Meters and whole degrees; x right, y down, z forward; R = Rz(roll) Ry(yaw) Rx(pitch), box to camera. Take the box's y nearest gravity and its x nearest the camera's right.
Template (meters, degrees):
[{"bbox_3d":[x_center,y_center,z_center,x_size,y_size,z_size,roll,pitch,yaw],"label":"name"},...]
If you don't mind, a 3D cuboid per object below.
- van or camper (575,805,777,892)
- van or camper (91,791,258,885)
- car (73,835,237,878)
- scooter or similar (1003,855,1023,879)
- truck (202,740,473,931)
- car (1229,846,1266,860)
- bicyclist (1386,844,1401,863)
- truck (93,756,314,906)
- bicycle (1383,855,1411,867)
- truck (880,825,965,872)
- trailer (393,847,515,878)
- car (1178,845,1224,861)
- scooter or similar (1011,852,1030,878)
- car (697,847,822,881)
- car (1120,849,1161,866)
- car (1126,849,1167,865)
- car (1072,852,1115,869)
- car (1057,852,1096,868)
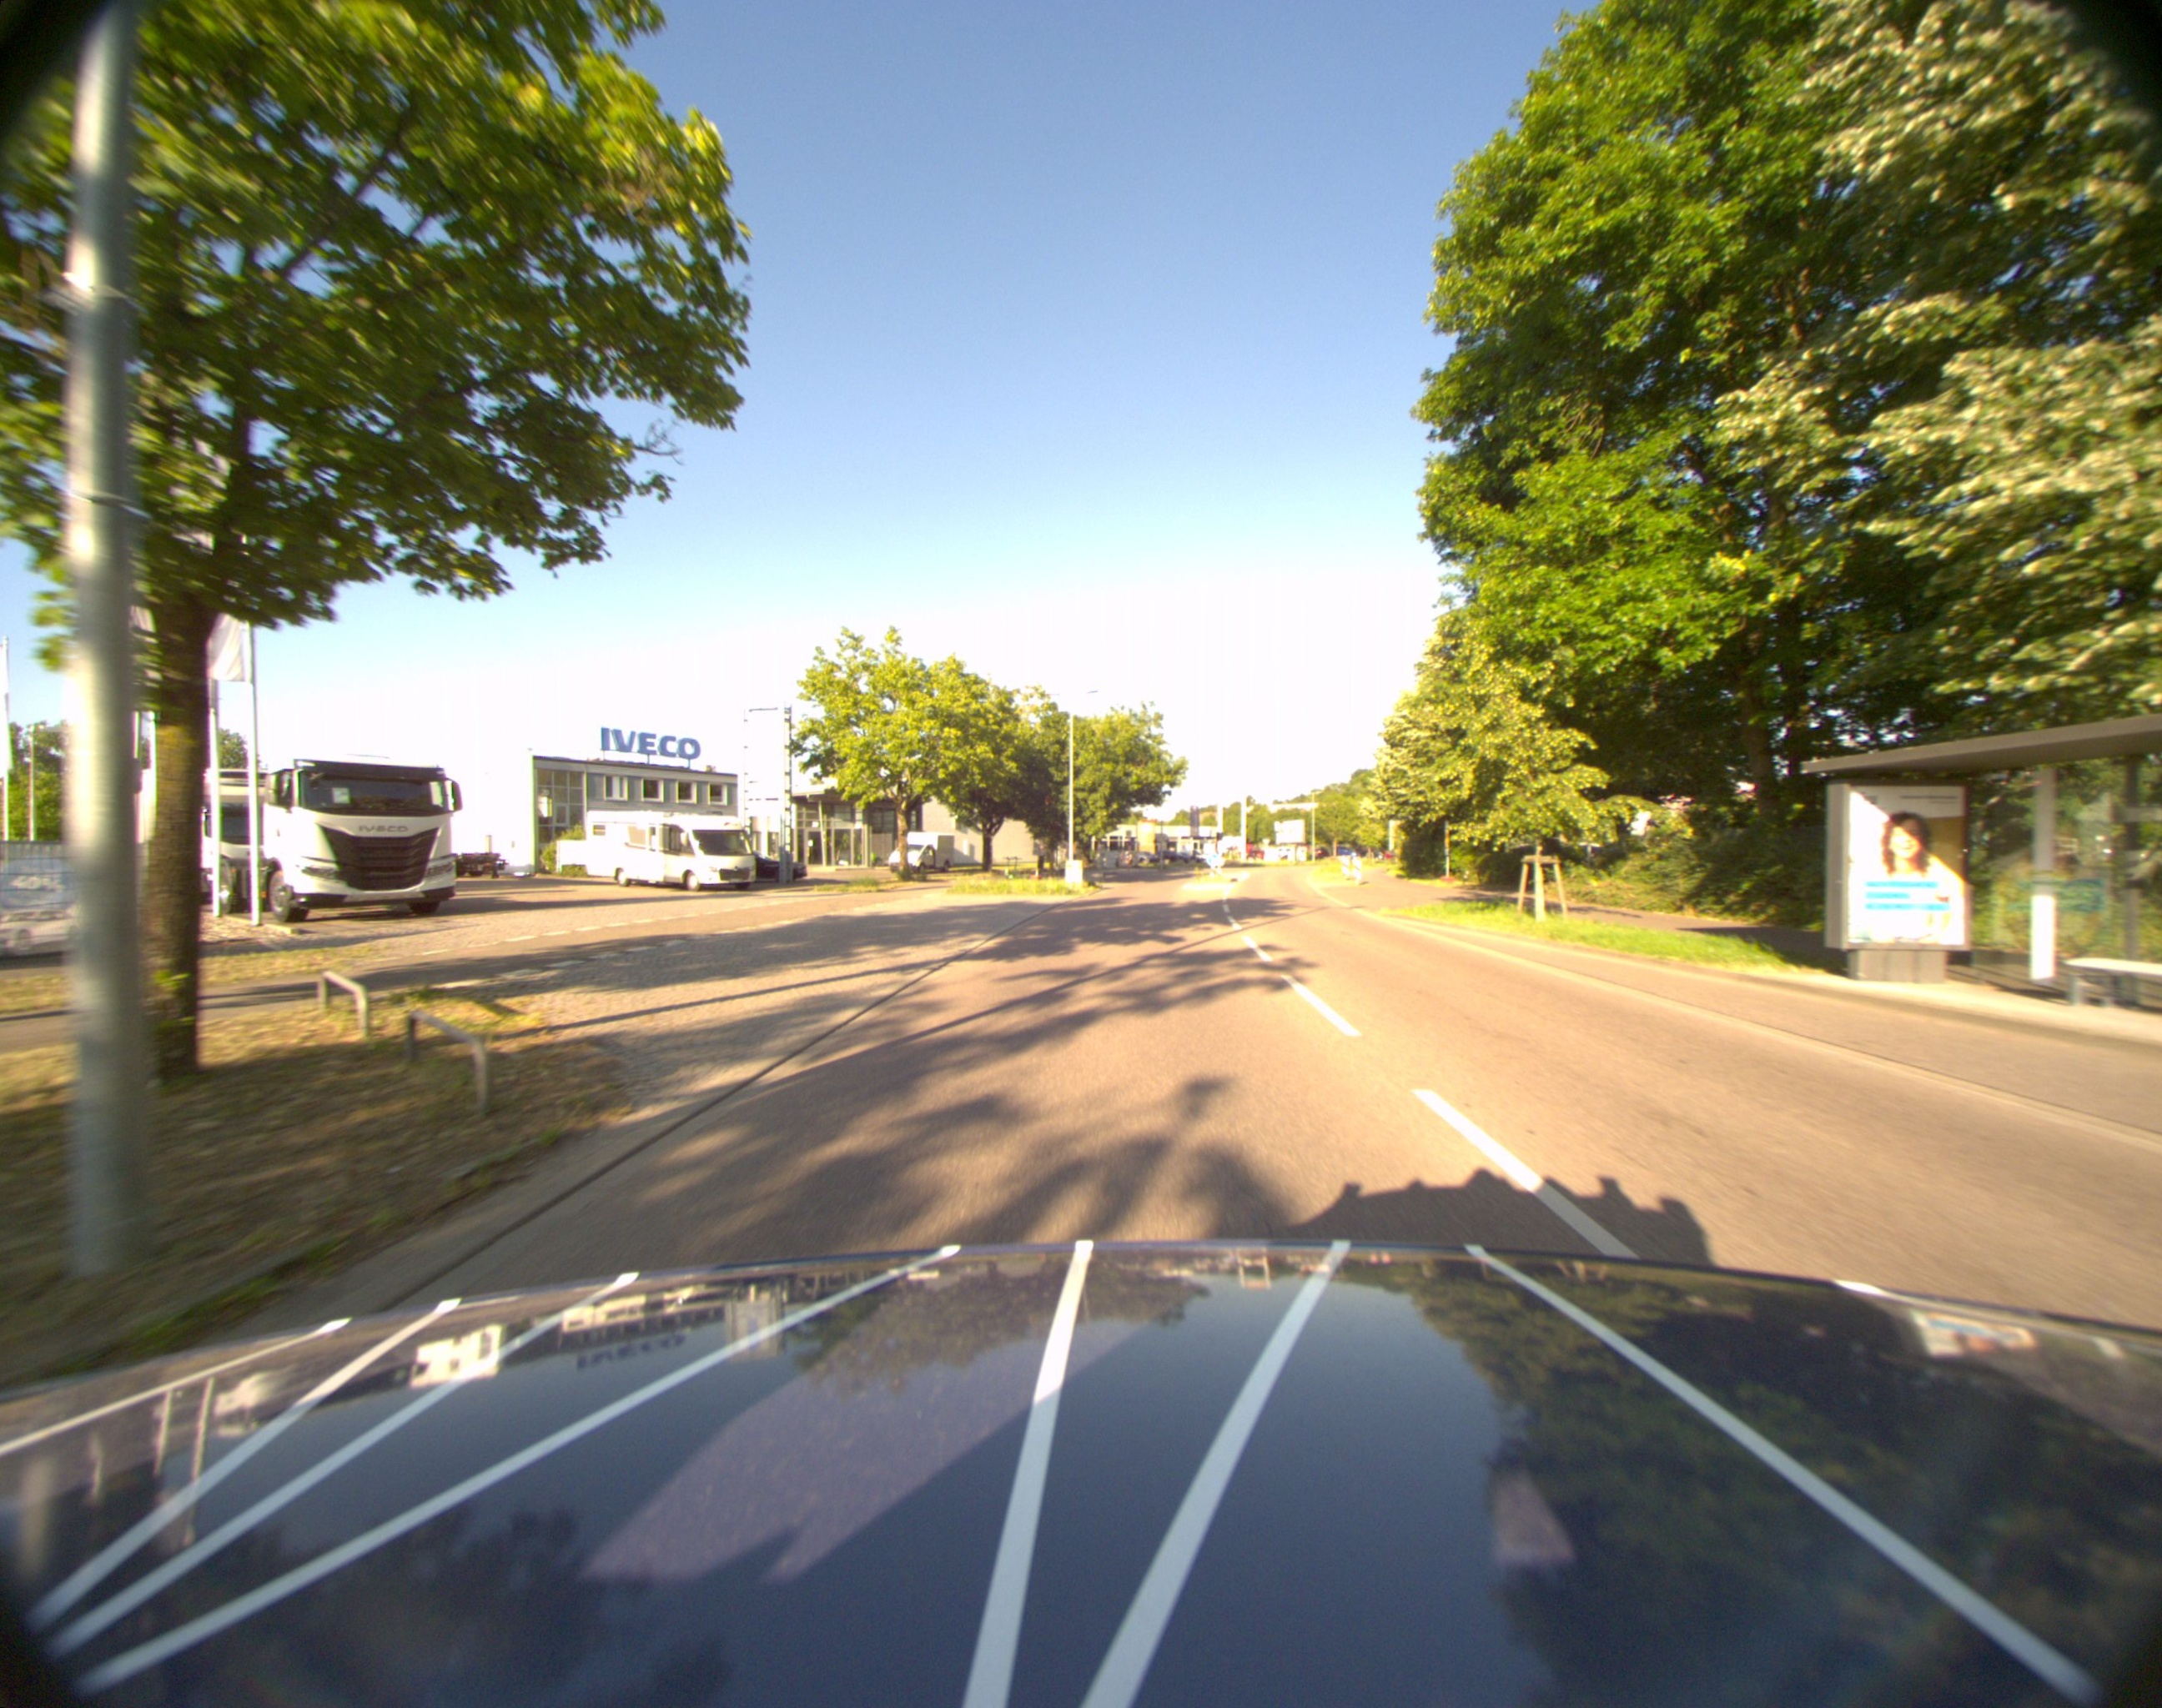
[{"bbox_3d":[-15.165,-0.229,28.256,7.988,2.883,2.948,1,1,31],"label":"van or camper"},{"bbox_3d":[-35.743,-0.609,29.876,8.116,3.310,2.419,1,1,27],"label":"van or camper"},{"bbox_3d":[-47.714,0.087,39.311,1.995,2.002,5.061,-2,0,30],"label":"car"},{"bbox_3d":[-3.409,0.637,38.025,0.547,1.190,1.483,0,1,14],"label":"scooter or similar"},{"bbox_3d":[-17.483,-0.416,17.663,8.229,3.502,3.121,1,2,36],"label":"truck"},{"bbox_3d":[23.987,-0.170,109.690,2.304,2.002,4.834,0,0,-35],"label":"car"},{"bbox_3d":[28.743,-0.078,69.953,0.954,1.742,0.911,0,1,-3],"label":"bicyclist"},{"bbox_3d":[-26.343,-0.615,22.610,10.089,3.623,3.302,1,1,35],"label":"truck"},{"bbox_3d":[29.098,0.655,69.931,2.162,1.094,0.924,0,1,-7],"label":"bicycle"},{"bbox_3d":[-9.689,-0.345,47.069,2.541,2.704,5.979,1,1,17],"label":"truck"},{"bbox_3d":[-29.055,0.336,35.170,5.637,1.314,2.560,1,1,30],"label":"trailer"},{"bbox_3d":[15.349,-0.191,97.554,5.274,2.002,2.410,1,1,40],"label":"car"},{"bbox_3d":[-3.137,0.559,39.507,0.547,1.328,1.483,1,1,14],"label":"scooter or similar"},{"bbox_3d":[-14.268,0.433,34.003,4.814,1.483,1.998,0,1,-8],"label":"car"},{"bbox_3d":[7.556,0.446,96.679,4.832,2.002,2.305,1,0,40],"label":"car"},{"bbox_3d":[8.601,0.383,99.625,4.832,2.002,2.305,1,1,40],"label":"car"},{"bbox_3d":[1.468,0.723,91.741,4.832,2.002,2.305,1,1,38],"label":"car"},{"bbox_3d":[-0.659,0.755,99.355,4.832,2.002,2.305,1,1,44],"label":"car"}]
